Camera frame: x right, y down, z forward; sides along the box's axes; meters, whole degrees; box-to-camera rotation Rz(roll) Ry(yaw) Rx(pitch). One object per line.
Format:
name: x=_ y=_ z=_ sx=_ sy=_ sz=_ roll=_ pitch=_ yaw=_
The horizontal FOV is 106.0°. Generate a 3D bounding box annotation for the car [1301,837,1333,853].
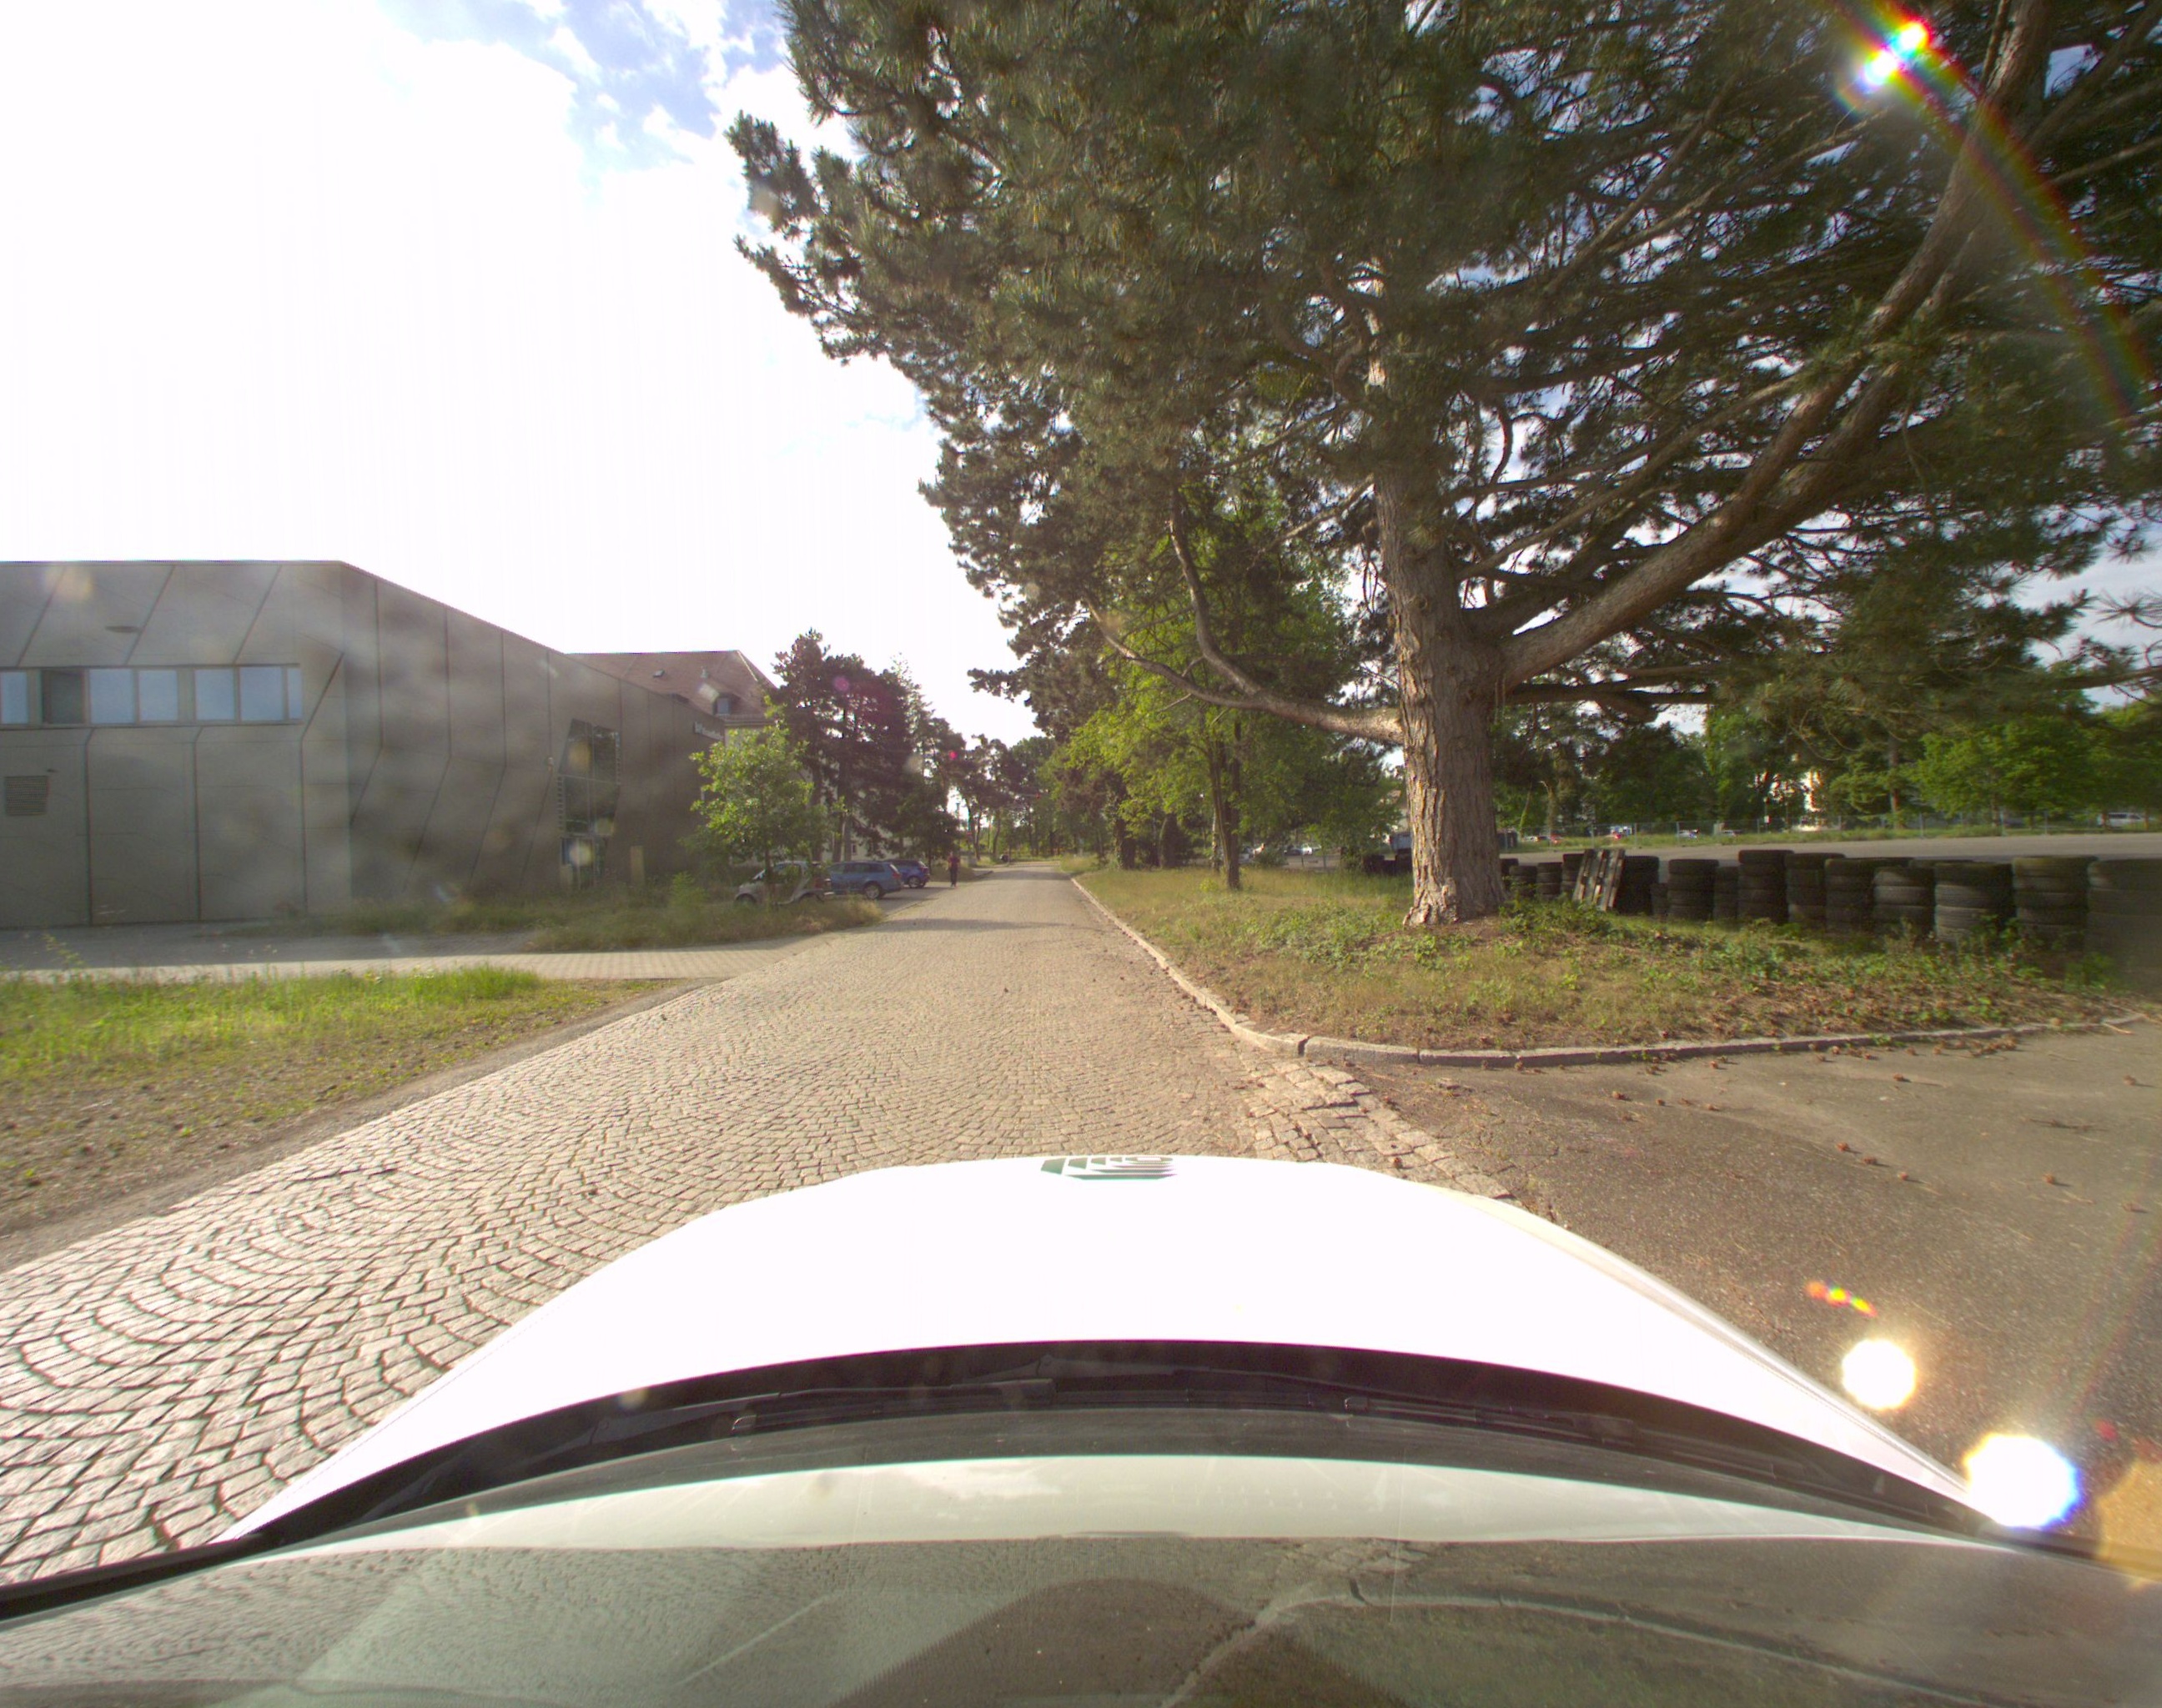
car: x=24.981 y=-0.963 z=86.297 sx=1.989 sy=1.618 sz=3.996 roll=-2 pitch=0 yaw=-3

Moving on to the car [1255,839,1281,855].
car: x=19.567 y=-0.709 z=85.387 sx=1.815 sy=1.618 sz=3.999 roll=-2 pitch=0 yaw=-1

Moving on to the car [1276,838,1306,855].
car: x=22.076 y=-0.802 z=85.821 sx=1.989 sy=1.618 sz=3.996 roll=-2 pitch=0 yaw=-3

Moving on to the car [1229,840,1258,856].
car: x=16.893 y=-0.623 z=84.973 sx=1.989 sy=1.618 sz=3.996 roll=-2 pitch=0 yaw=-3

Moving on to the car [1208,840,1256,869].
car: x=8.660 y=0.040 z=47.042 sx=1.881 sy=1.541 sz=3.997 roll=-2 pitch=0 yaw=-2

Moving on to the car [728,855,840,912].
car: x=-8.779 y=0.852 z=24.202 sx=2.750 sy=1.549 sz=1.425 roll=-2 pitch=0 yaw=1

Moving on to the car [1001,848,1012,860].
car: x=-13.459 y=-0.057 z=146.923 sx=1.693 sy=2.013 sz=3.996 roll=-2 pitch=0 yaw=-2

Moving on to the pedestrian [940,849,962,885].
pedestrian: x=-6.807 y=0.669 z=42.456 sx=0.958 sy=1.844 sz=0.950 roll=-2 pitch=0 yaw=-17

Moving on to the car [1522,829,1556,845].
car: x=55.668 y=-2.059 z=99.013 sx=1.986 sy=1.750 sz=4.003 roll=-2 pitch=0 yaw=2

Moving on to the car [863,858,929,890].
car: x=-9.224 y=0.992 z=40.840 sx=3.083 sy=1.450 sz=1.487 roll=-2 pitch=0 yaw=-9

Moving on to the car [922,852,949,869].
car: x=-14.244 y=0.617 z=79.727 sx=1.989 sy=1.618 sz=3.996 roll=-2 pitch=0 yaw=-3

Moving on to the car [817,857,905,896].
car: x=-8.474 y=0.868 z=31.546 sx=3.081 sy=1.457 sz=1.488 roll=0 pitch=0 yaw=-8
